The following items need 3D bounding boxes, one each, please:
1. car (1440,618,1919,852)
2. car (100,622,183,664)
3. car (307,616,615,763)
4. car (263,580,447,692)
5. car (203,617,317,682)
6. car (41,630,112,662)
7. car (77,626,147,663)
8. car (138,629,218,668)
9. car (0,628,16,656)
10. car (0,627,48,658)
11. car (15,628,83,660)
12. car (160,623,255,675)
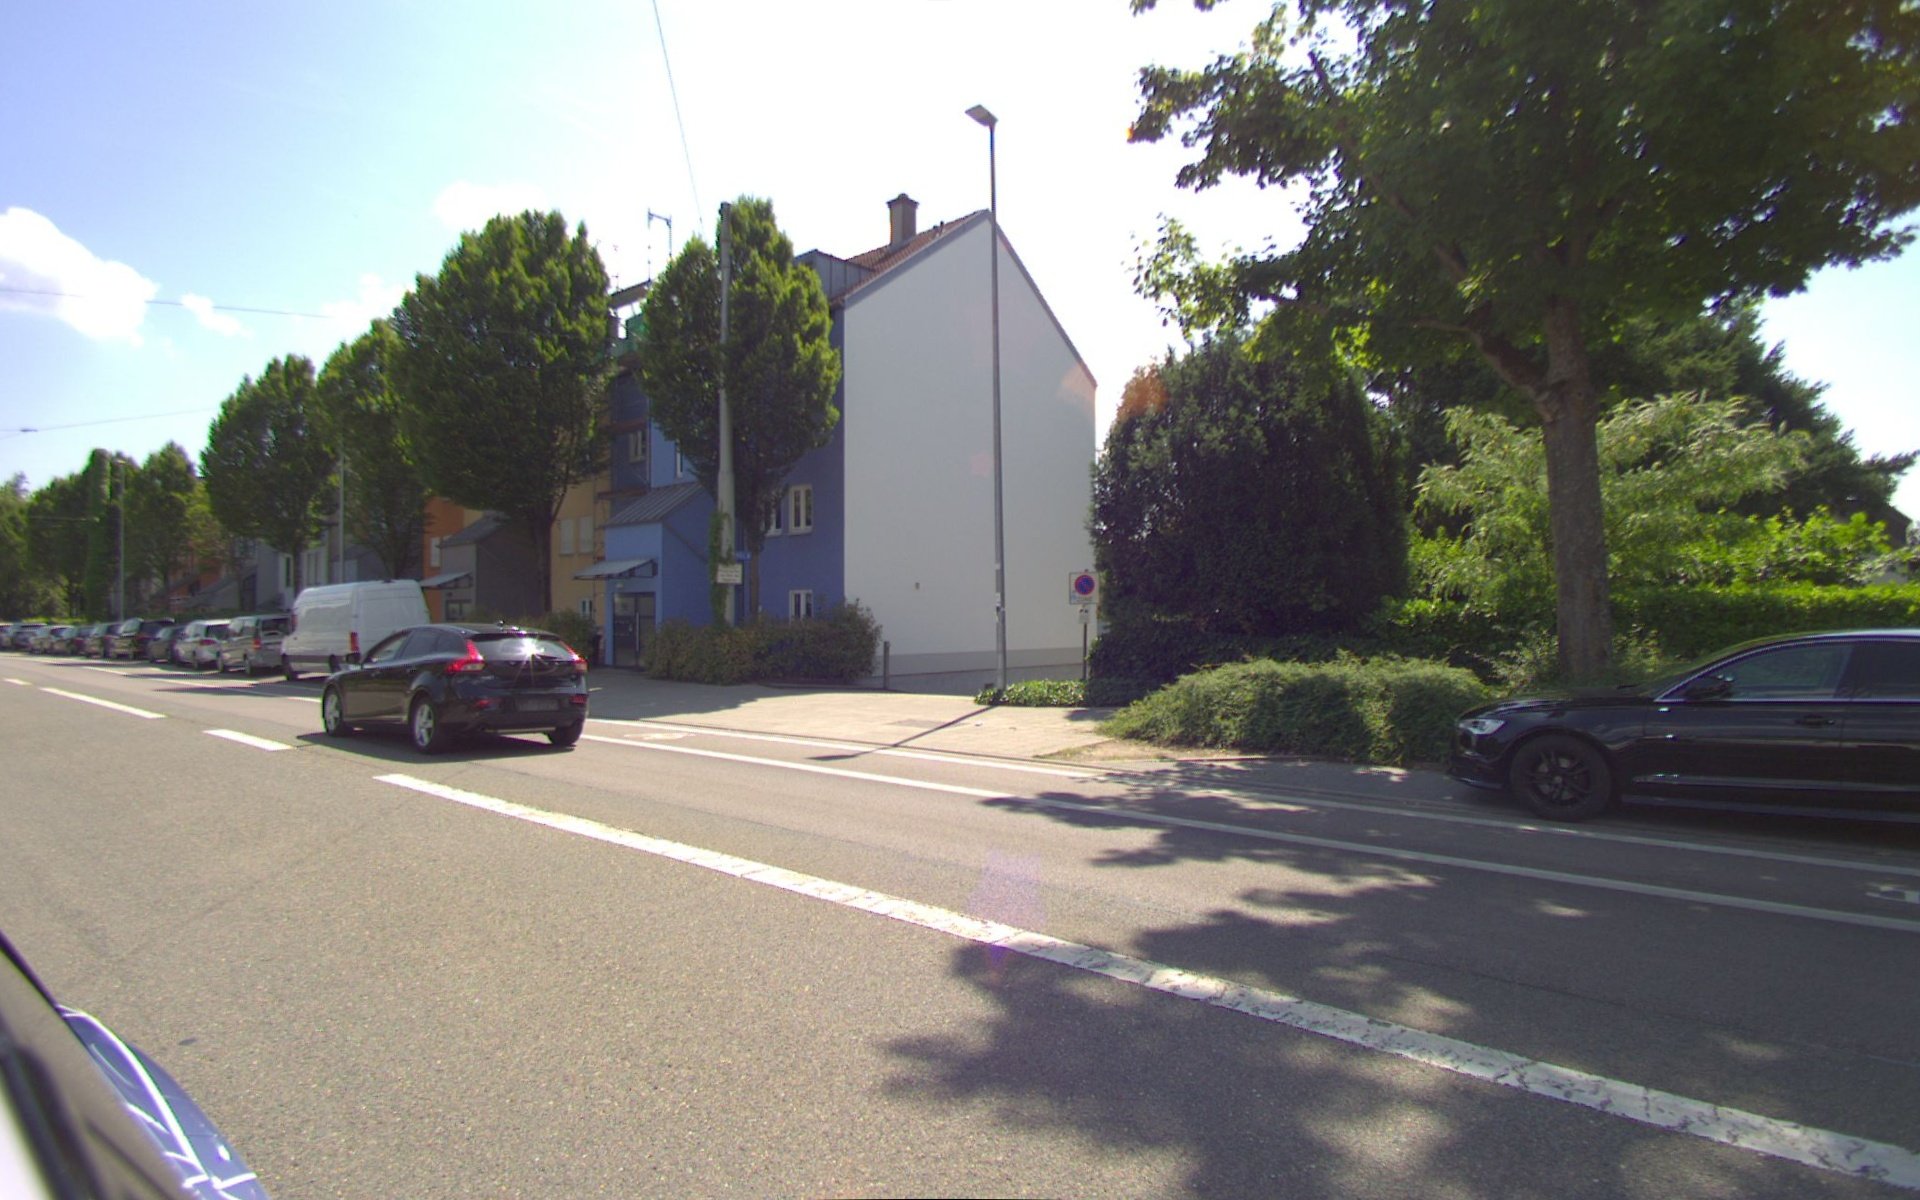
[{"bbox_3d":[6.316,0.879,7.385,4.800,1.467,1.757,-2,-1,40],"label":"car"},{"bbox_3d":[-35.482,1.862,43.830,4.881,1.729,1.734,-2,-2,38],"label":"car"},{"bbox_3d":[-6.103,0.970,12.185,4.191,1.471,1.757,-2,-3,40],"label":"car"},{"bbox_3d":[-16.958,0.960,28.137,7.033,2.670,2.299,-2,2,42],"label":"car"},{"bbox_3d":[-23.187,1.587,33.440,5.359,1.909,1.788,-2,1,41],"label":"car"},{"bbox_3d":[-44.461,2.274,50.896,4.955,1.457,1.726,-2,0,37],"label":"car"},{"bbox_3d":[-39.574,2.041,47.189,4.279,1.630,1.640,-1,-2,38],"label":"car"},{"bbox_3d":[-31.229,1.896,40.363,4.082,1.482,1.583,-1,-1,38],"label":"car"},{"bbox_3d":[-58.484,2.503,60.795,4.161,1.621,1.642,-1,-1,33],"label":"car"},{"bbox_3d":[-53.753,2.416,57.693,4.677,1.621,1.641,-2,0,36],"label":"car"},{"bbox_3d":[-49.137,2.347,54.578,4.885,1.519,1.641,-1,2,35],"label":"car"},{"bbox_3d":[-27.568,1.753,37.020,4.900,1.765,1.699,-2,-1,40],"label":"car"}]
